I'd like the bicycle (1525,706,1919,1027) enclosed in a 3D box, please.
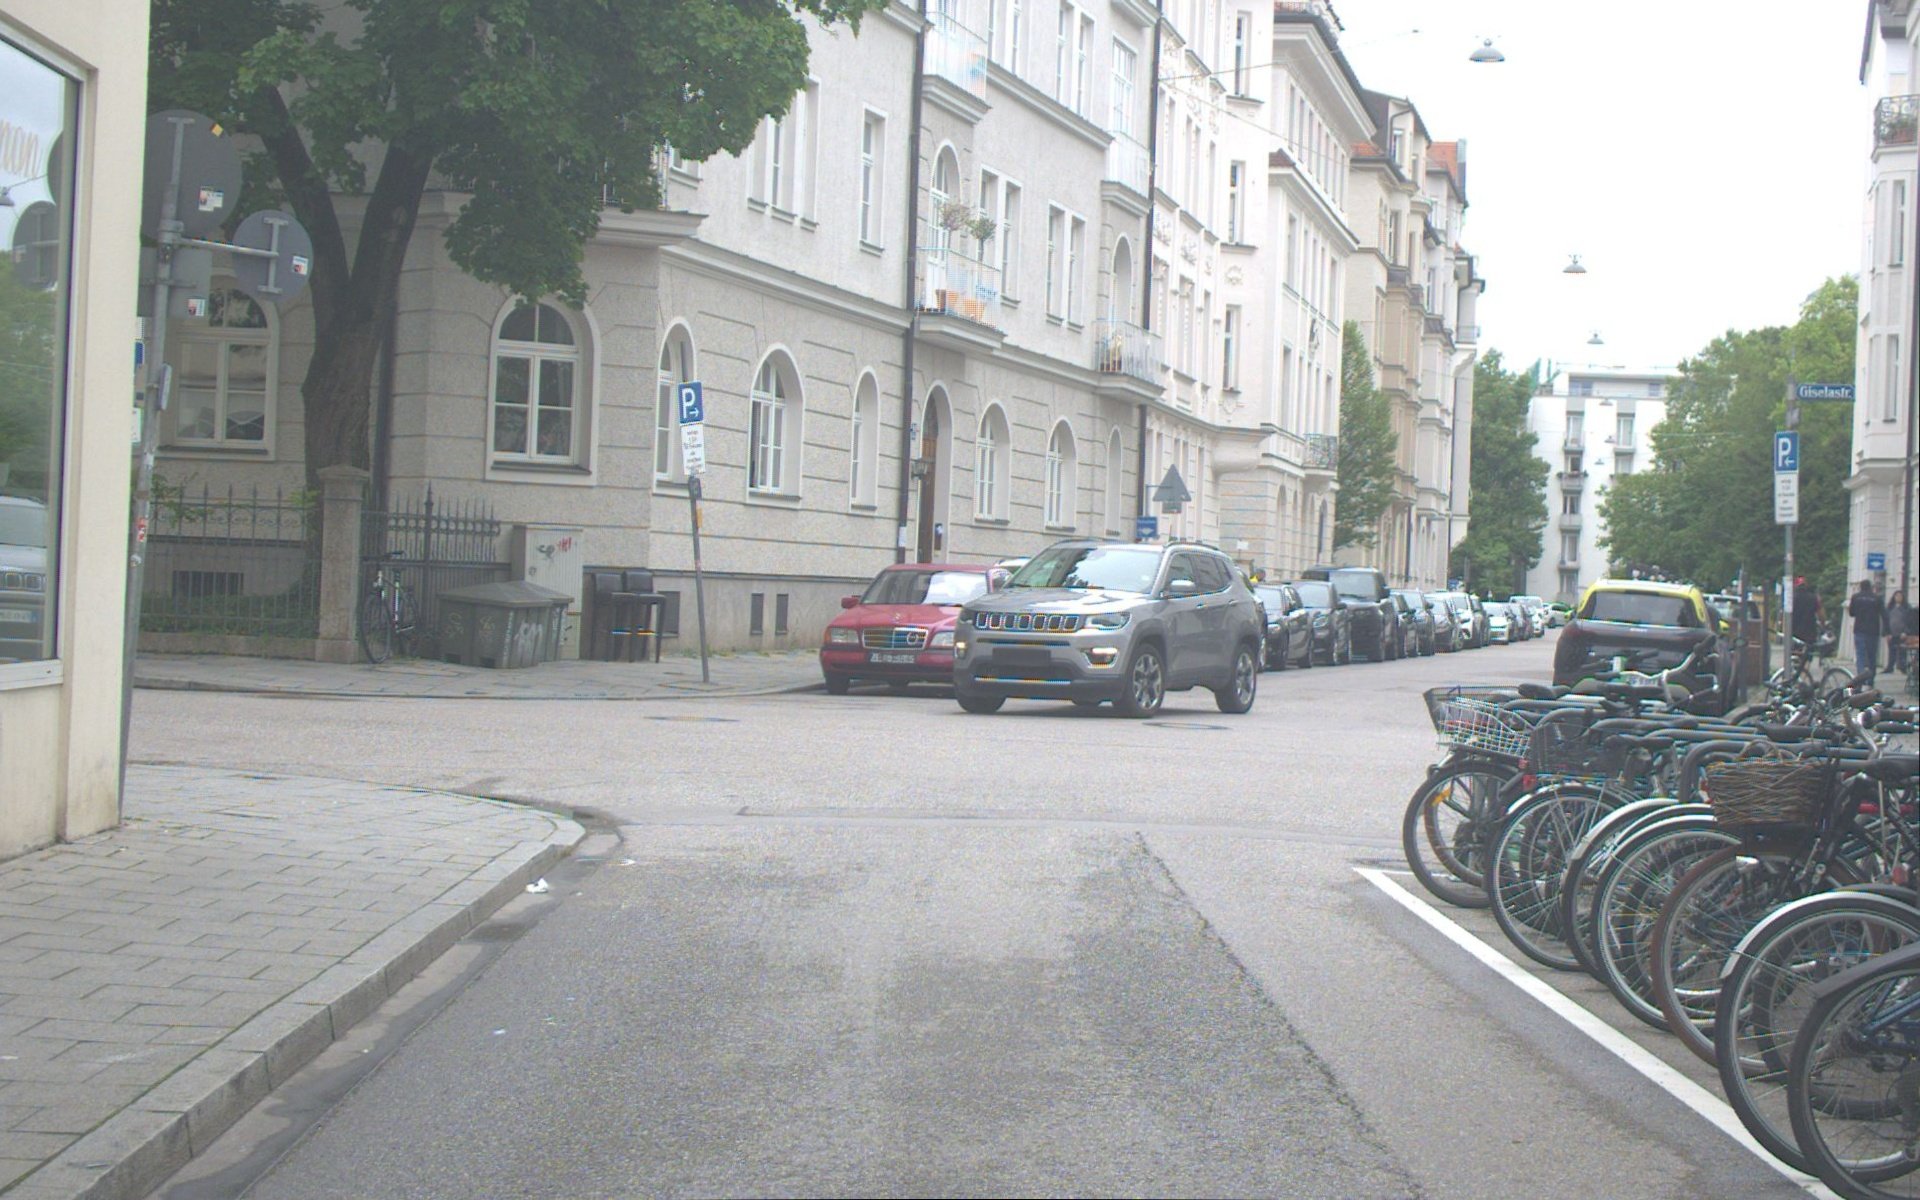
[{"bbox_3d":[3.007,0.941,12.153,1.873,1.048,0.564,2,-1,-3],"label":"bicycle"}]

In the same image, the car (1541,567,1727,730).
[{"bbox_3d":[7.847,0.531,39.780,1.821,1.630,4.286,5,1,13],"label":"car"}]

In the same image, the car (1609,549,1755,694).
[{"bbox_3d":[10.519,0.292,49.914,1.821,1.864,4.286,5,1,13],"label":"car"}]

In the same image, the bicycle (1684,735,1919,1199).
[{"bbox_3d":[2.785,0.961,8.345,1.873,1.104,0.488,4,2,-2],"label":"bicycle"}]

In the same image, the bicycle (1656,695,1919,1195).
[{"bbox_3d":[2.811,0.901,8.864,1.873,1.200,0.488,3,2,-2],"label":"bicycle"}]

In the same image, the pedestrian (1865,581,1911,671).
[{"bbox_3d":[19.623,0.550,72.688,0.779,1.845,0.858,3,1,21],"label":"pedestrian"}]

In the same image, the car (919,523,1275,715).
[{"bbox_3d":[1.369,0.158,32.281,1.959,1.602,4.304,3,1,22],"label":"car"}]

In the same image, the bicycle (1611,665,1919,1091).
[{"bbox_3d":[2.958,0.828,10.278,1.873,1.200,0.580,2,1,-2],"label":"bicycle"}]

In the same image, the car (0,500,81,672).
[{"bbox_3d":[-9.924,-0.228,29.975,3.988,1.444,1.685,3,1,5],"label":"car"}]

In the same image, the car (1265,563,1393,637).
[{"bbox_3d":[7.280,-0.008,67.545,1.908,1.324,3.997,3,1,14],"label":"car"}]

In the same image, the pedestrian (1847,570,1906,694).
[{"bbox_3d":[14.131,0.485,53.019,0.779,1.845,1.022,3,1,14],"label":"pedestrian"}]

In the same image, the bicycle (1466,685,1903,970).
[{"bbox_3d":[2.964,0.930,14.115,1.674,1.076,0.336,2,2,-3],"label":"bicycle"}]

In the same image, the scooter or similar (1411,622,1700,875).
[{"bbox_3d":[3.035,0.752,17.569,1.352,1.206,0.417,3,1,2],"label":"scooter or similar"}]

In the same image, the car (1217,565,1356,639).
[{"bbox_3d":[6.025,0.027,63.093,1.908,1.218,3.997,3,1,14],"label":"car"}]

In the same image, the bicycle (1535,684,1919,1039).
[{"bbox_3d":[2.918,0.876,11.449,1.873,1.091,0.440,2,2,-3],"label":"bicycle"}]

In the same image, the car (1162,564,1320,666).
[{"bbox_3d":[4.730,0.239,57.438,1.927,1.541,3.997,3,1,14],"label":"car"}]

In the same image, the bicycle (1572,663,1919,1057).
[{"bbox_3d":[2.962,0.824,10.906,1.893,1.166,0.566,2,1,-3],"label":"bicycle"}]

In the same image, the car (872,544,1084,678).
[{"bbox_3d":[0.279,0.117,42.037,1.994,1.468,4.217,3,1,8],"label":"car"}]

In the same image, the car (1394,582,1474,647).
[{"bbox_3d":[12.480,0.370,90.341,1.821,1.568,3.998,3,1,11],"label":"car"}]

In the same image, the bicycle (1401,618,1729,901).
[{"bbox_3d":[2.940,0.770,16.772,1.457,1.281,0.445,3,1,1],"label":"bicycle"}]

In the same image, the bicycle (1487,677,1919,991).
[{"bbox_3d":[2.964,0.874,12.850,1.873,1.076,0.402,2,2,-3],"label":"bicycle"}]

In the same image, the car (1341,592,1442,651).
[{"bbox_3d":[9.954,0.477,79.046,1.907,1.218,3.998,3,1,12],"label":"car"}]

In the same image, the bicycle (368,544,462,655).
[{"bbox_3d":[-5.617,-0.019,35.497,0.493,1.049,1.827,3,3,5],"label":"bicycle"}]

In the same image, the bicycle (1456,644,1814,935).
[{"bbox_3d":[3.001,0.839,15.312,1.450,1.203,0.395,3,1,-8],"label":"bicycle"}]

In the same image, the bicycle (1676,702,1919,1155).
[{"bbox_3d":[3.027,0.940,9.547,1.873,1.153,0.565,4,2,-2],"label":"bicycle"}]

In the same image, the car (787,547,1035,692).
[{"bbox_3d":[-0.453,0.190,36.714,1.731,1.373,4.224,3,1,11],"label":"car"}]

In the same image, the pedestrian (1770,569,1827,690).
[{"bbox_3d":[13.125,0.458,53.780,0.779,1.845,1.022,3,1,14],"label":"pedestrian"}]

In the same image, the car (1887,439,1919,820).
[{"bbox_3d":[9.483,0.329,23.083,5.894,2.582,2.059,3,2,5],"label":"car"}]

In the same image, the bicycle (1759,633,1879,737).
[{"bbox_3d":[8.912,0.871,35.722,0.539,0.995,1.756,-1,1,-10],"label":"bicycle"}]

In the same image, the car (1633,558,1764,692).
[{"bbox_3d":[11.863,0.385,55.049,1.821,1.917,4.181,5,1,13],"label":"car"}]

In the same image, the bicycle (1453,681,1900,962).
[{"bbox_3d":[3.017,0.928,14.529,1.740,1.076,0.452,2,2,-3],"label":"bicycle"}]

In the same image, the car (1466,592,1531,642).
[{"bbox_3d":[18.322,0.552,116.911,1.994,1.568,3.998,3,1,11],"label":"car"}]

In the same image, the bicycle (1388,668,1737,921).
[{"bbox_3d":[2.756,0.888,15.764,1.450,1.066,0.463,3,1,-8],"label":"bicycle"}]

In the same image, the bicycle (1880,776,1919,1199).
[{"bbox_3d":[2.980,1.003,7.282,1.873,1.076,0.488,5,2,-2],"label":"bicycle"}]

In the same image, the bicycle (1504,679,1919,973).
[{"bbox_3d":[3.038,0.897,13.730,1.612,1.076,0.378,2,2,-3],"label":"bicycle"}]

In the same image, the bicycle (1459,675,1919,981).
[{"bbox_3d":[2.924,0.877,13.290,1.873,1.076,0.408,2,2,-3],"label":"bicycle"}]

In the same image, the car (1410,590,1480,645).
[{"bbox_3d":[13.588,0.471,96.196,1.734,1.415,3.998,3,1,10],"label":"car"}]
